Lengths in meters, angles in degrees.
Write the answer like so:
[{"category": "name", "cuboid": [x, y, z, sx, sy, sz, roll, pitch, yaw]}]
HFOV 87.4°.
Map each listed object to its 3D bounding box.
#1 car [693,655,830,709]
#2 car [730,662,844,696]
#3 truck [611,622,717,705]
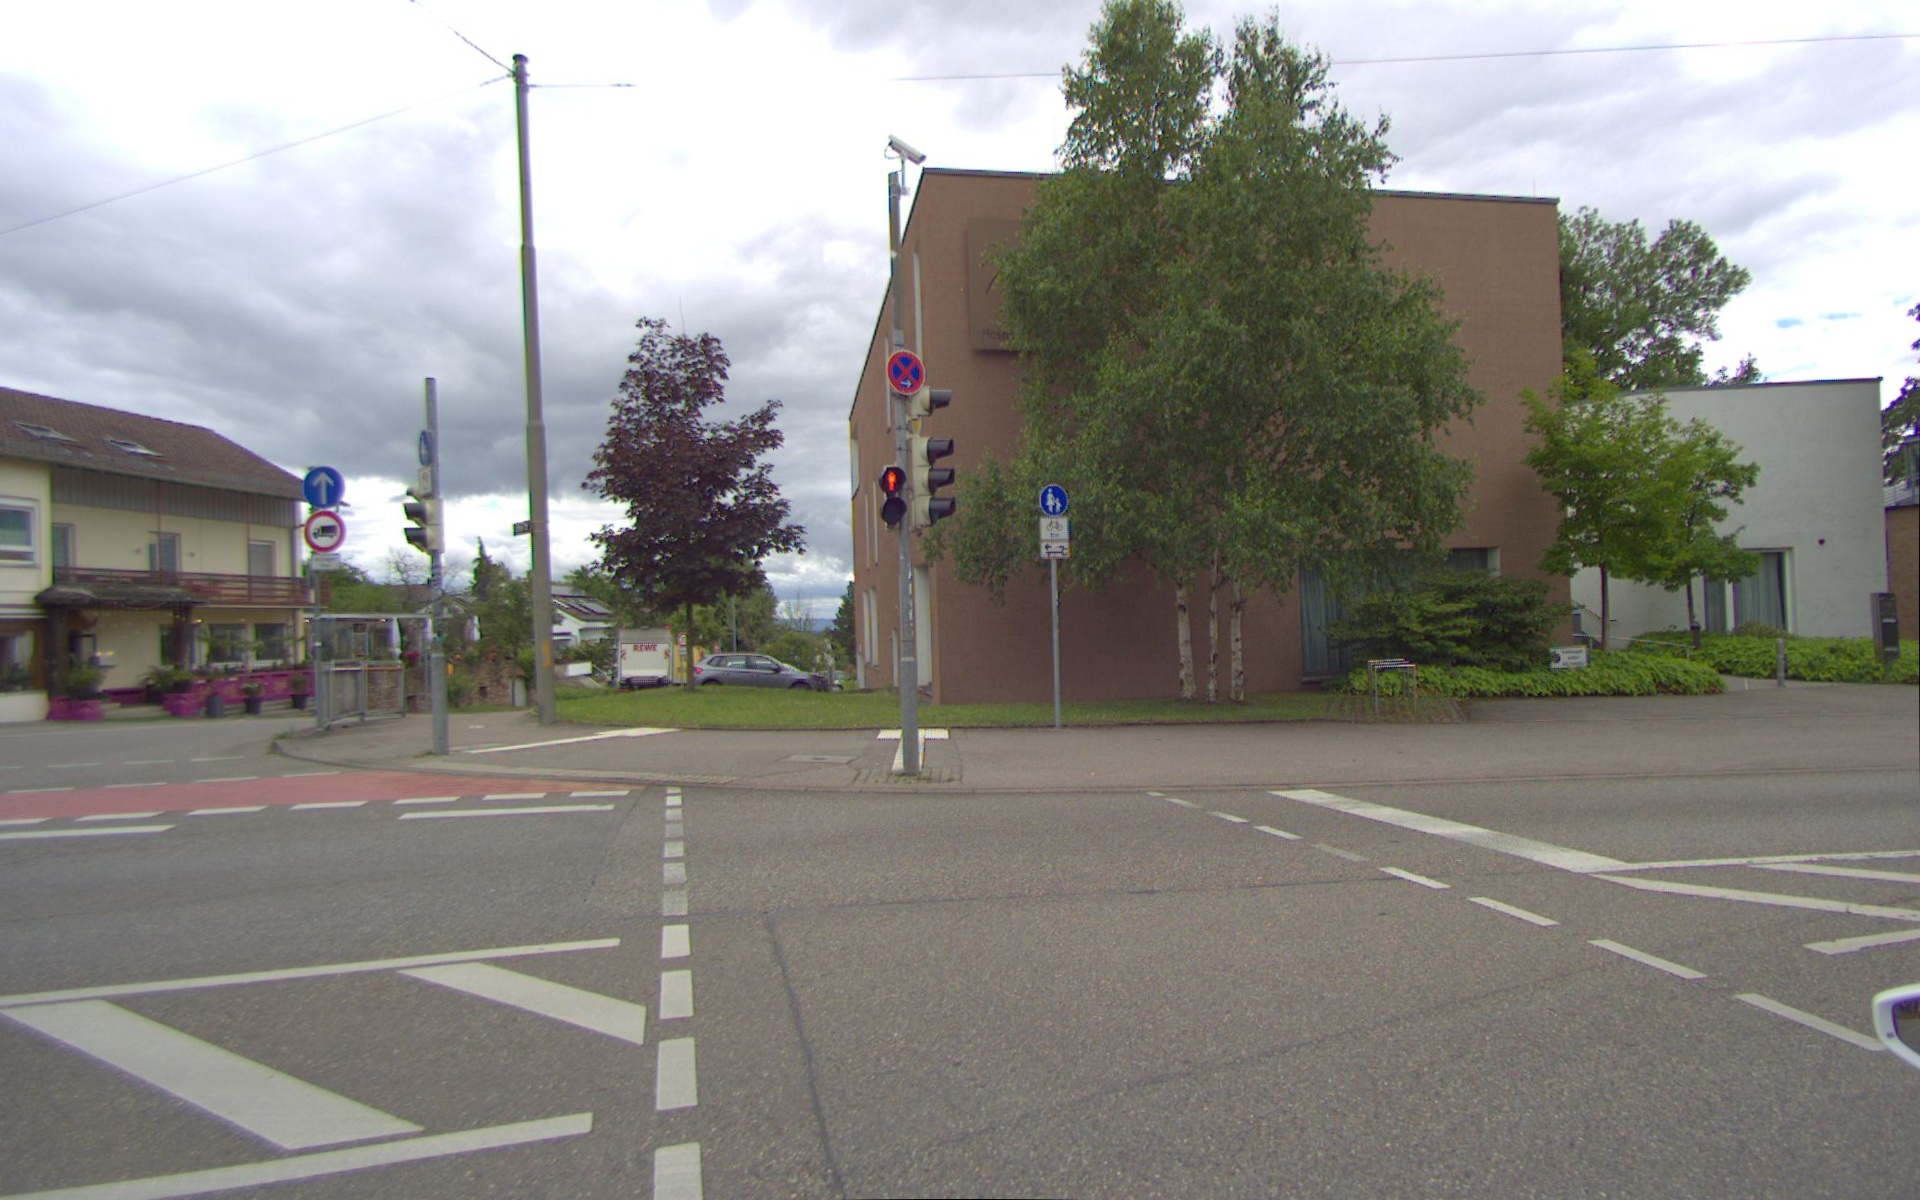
[{"category": "car", "cuboid": [-5.933, 2.453, 30.458, 3.931, 1.541, 1.785, 0, -3, -7]}, {"category": "car", "cuboid": [-5.927, 2.721, 34.750, 3.774, 1.105, 1.785, 0, -3, -7]}, {"category": "truck", "cuboid": [-14.696, 3.274, 50.597, 2.961, 3.846, 8.317, 0, -5, -1]}]
